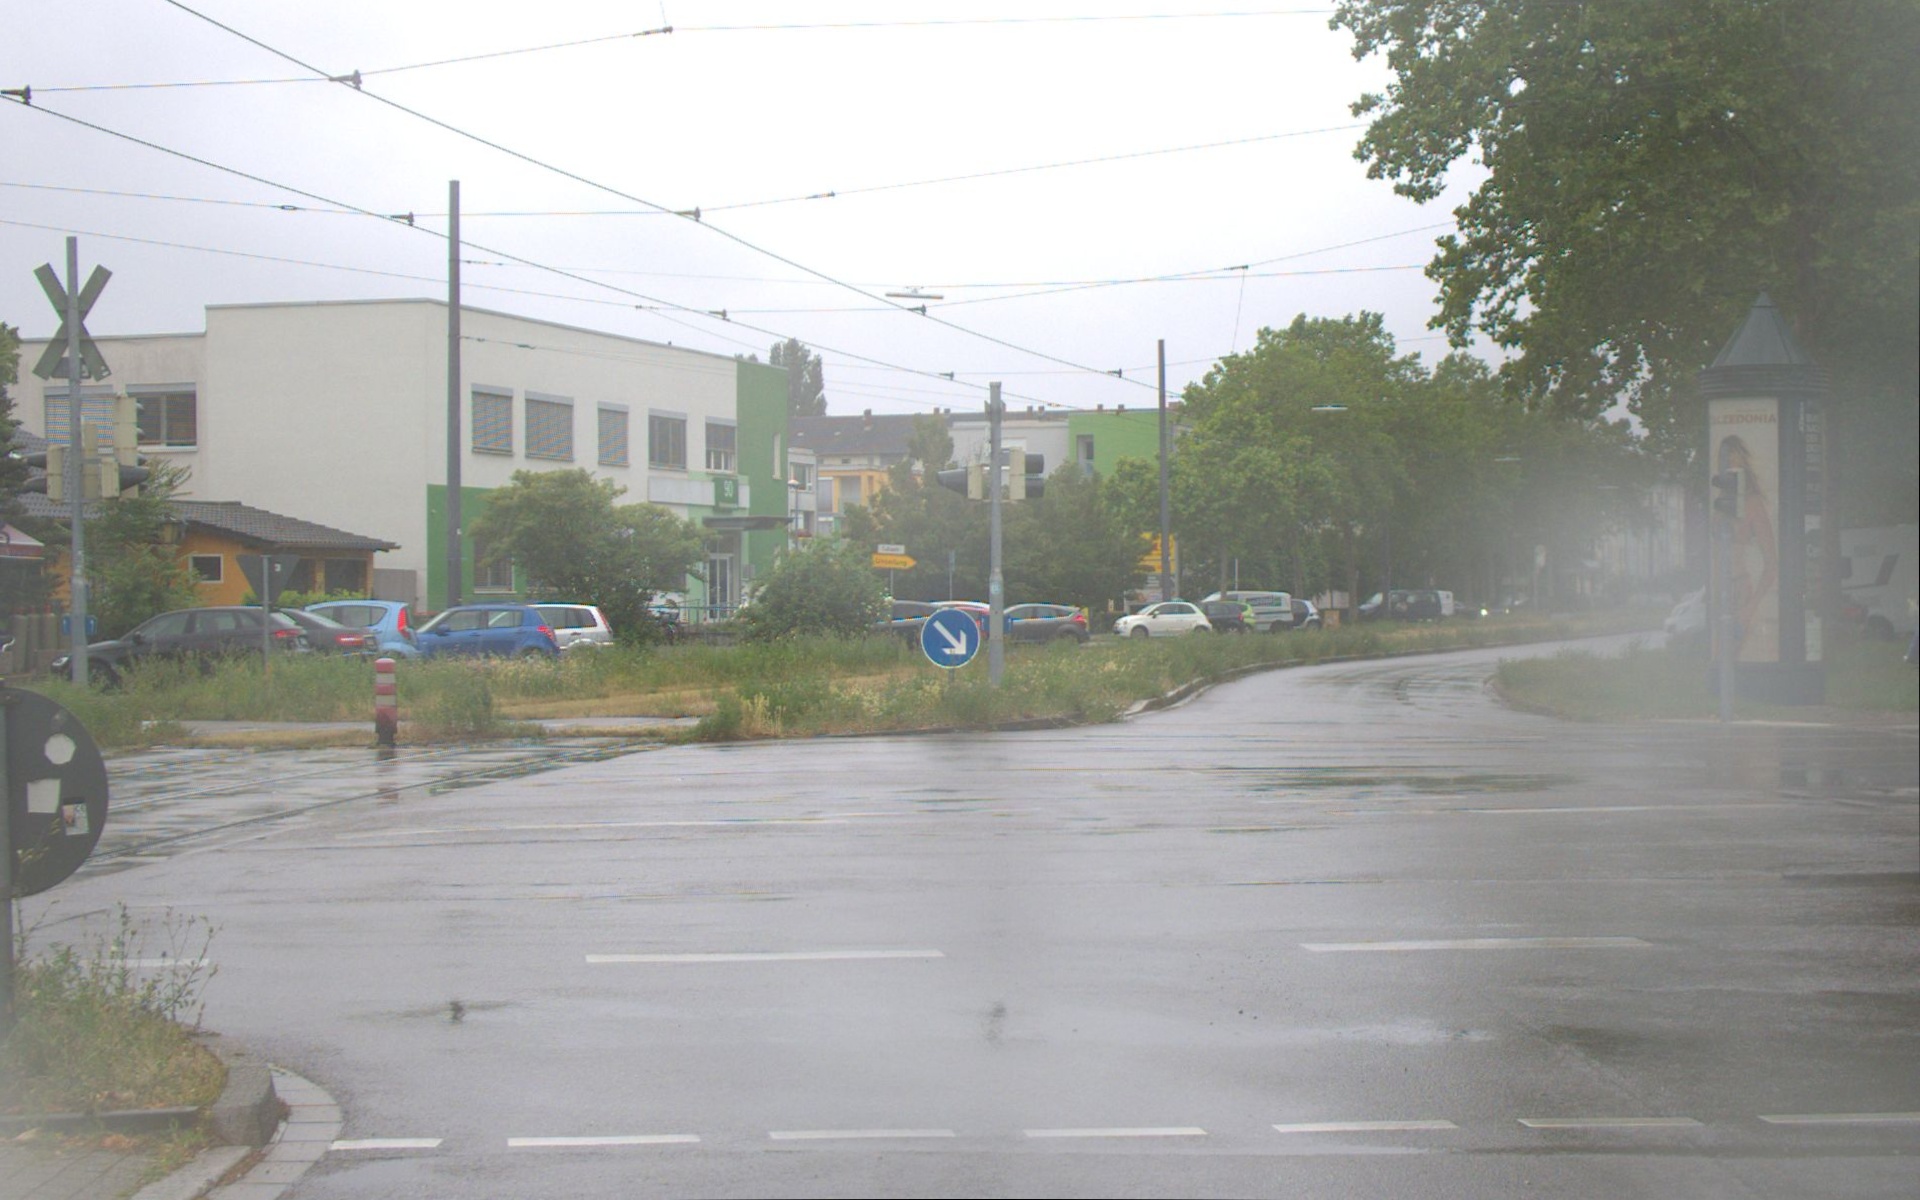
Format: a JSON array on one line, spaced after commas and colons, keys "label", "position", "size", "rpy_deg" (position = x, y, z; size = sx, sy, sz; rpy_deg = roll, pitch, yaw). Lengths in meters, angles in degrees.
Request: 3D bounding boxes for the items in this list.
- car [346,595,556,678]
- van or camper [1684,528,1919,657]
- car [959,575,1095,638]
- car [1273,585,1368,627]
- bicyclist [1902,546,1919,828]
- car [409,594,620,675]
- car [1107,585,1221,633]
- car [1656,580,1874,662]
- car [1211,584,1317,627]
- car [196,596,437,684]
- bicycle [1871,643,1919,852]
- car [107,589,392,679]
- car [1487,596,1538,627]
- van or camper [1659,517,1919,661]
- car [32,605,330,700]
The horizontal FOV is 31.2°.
[{"label": "car", "position": [-10.064, 0.709, 67.820], "size": [3.986, 1.576, 1.930], "rpy_deg": [0, 0, -12]}, {"label": "van or camper", "position": [22.551, -0.197, 87.829], "size": [7.434, 3.167, 3.259], "rpy_deg": [1, 0, 22]}, {"label": "car", "position": [2.099, 0.204, 108.471], "size": [3.986, 1.881, 2.000], "rpy_deg": [1, 0, -7]}, {"label": "car", "position": [16.482, 0.265, 157.234], "size": [3.986, 1.826, 2.000], "rpy_deg": [1, 0, -5]}, {"label": "bicyclist", "position": [5.478, 0.466, 18.220], "size": [0.690, 1.501, 0.844], "rpy_deg": [1, -1, -4]}, {"label": "car", "position": [-9.212, 0.697, 70.997], "size": [4.107, 1.635, 1.930], "rpy_deg": [0, 0, -15]}, {"label": "car", "position": [7.399, 0.326, 124.953], "size": [3.773, 1.697, 1.837], "rpy_deg": [1, 0, -10]}, {"label": "car", "position": [17.782, 0.455, 75.923], "size": [4.449, 1.711, 1.998], "rpy_deg": [1, 0, 20]}, {"label": "car", "position": [12.653, 0.227, 143.165], "size": [3.986, 1.753, 2.011], "rpy_deg": [1, 0, -12]}, {"label": "car", "position": [-11.724, 0.725, 62.824], "size": [3.987, 1.576, 1.858], "rpy_deg": [0, 0, 4]}, {"label": "bicycle", "position": [5.478, 0.791, 18.217], "size": [0.690, 1.113, 1.885], "rpy_deg": [1, -1, -4]}, {"label": "car", "position": [-12.242, 0.584, 59.435], "size": [4.497, 1.413, 1.858], "rpy_deg": [-2, 0, 1]}, {"label": "car", "position": [30.343, 0.626, 188.646], "size": [1.893, 1.656, 3.995], "rpy_deg": [1, 0, 22]}, {"label": "van or camper", "position": [19.928, -0.247, 78.810], "size": [7.328, 3.167, 3.259], "rpy_deg": [1, 0, 17]}, {"label": "car", "position": [-12.886, 0.861, 57.022], "size": [4.477, 1.413, 1.858], "rpy_deg": [-2, 0, 1]}]
